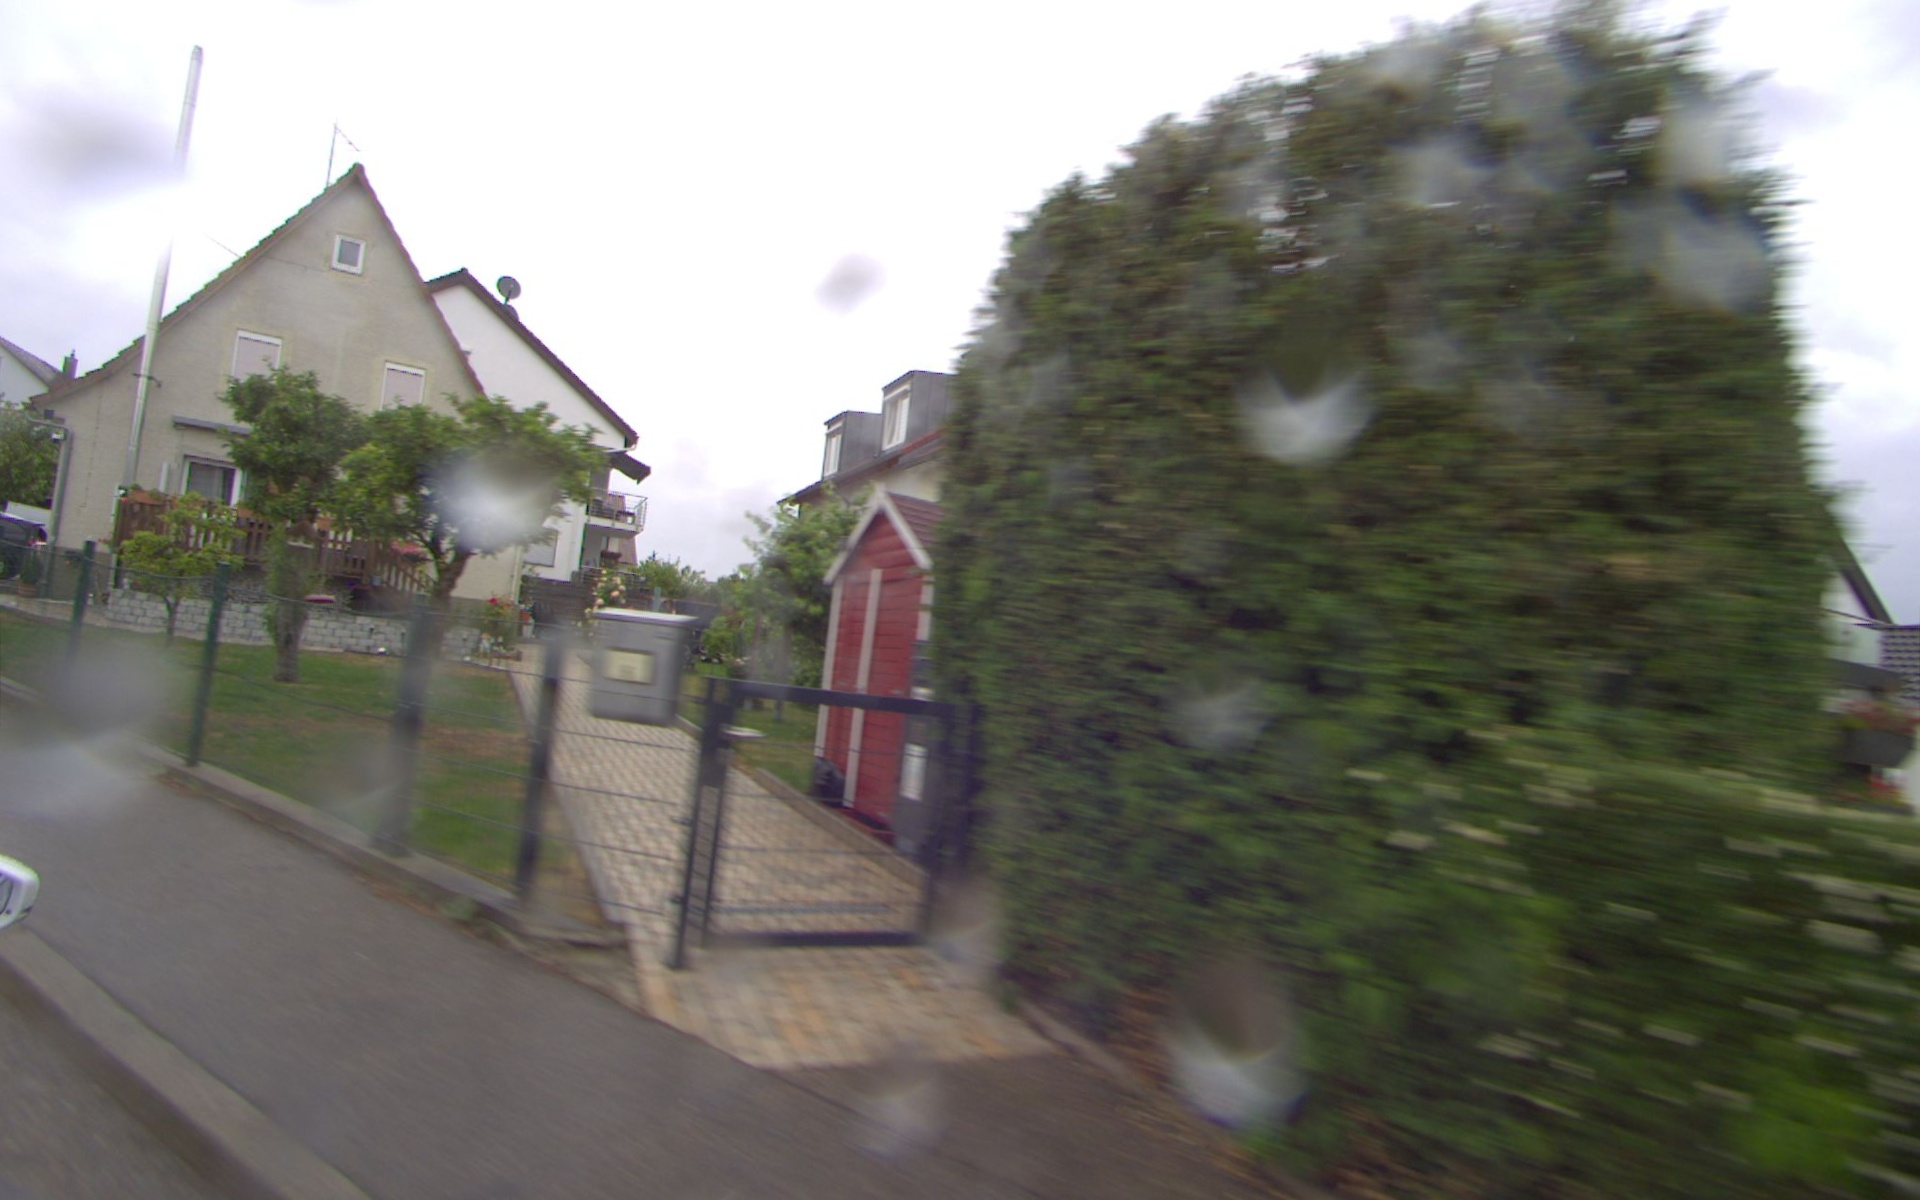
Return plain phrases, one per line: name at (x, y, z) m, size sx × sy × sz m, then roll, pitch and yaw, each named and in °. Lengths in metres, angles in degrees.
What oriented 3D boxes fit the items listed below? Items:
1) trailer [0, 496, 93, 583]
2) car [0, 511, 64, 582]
trailer at (-24.132, -1.691, 24.909) m, size 3.420 × 1.816 × 1.682 m, roll 12°, pitch -5°, yaw -21°
car at (-22.776, -1.436, 22.034) m, size 4.540 × 1.400 × 1.977 m, roll 8°, pitch -1°, yaw -41°
